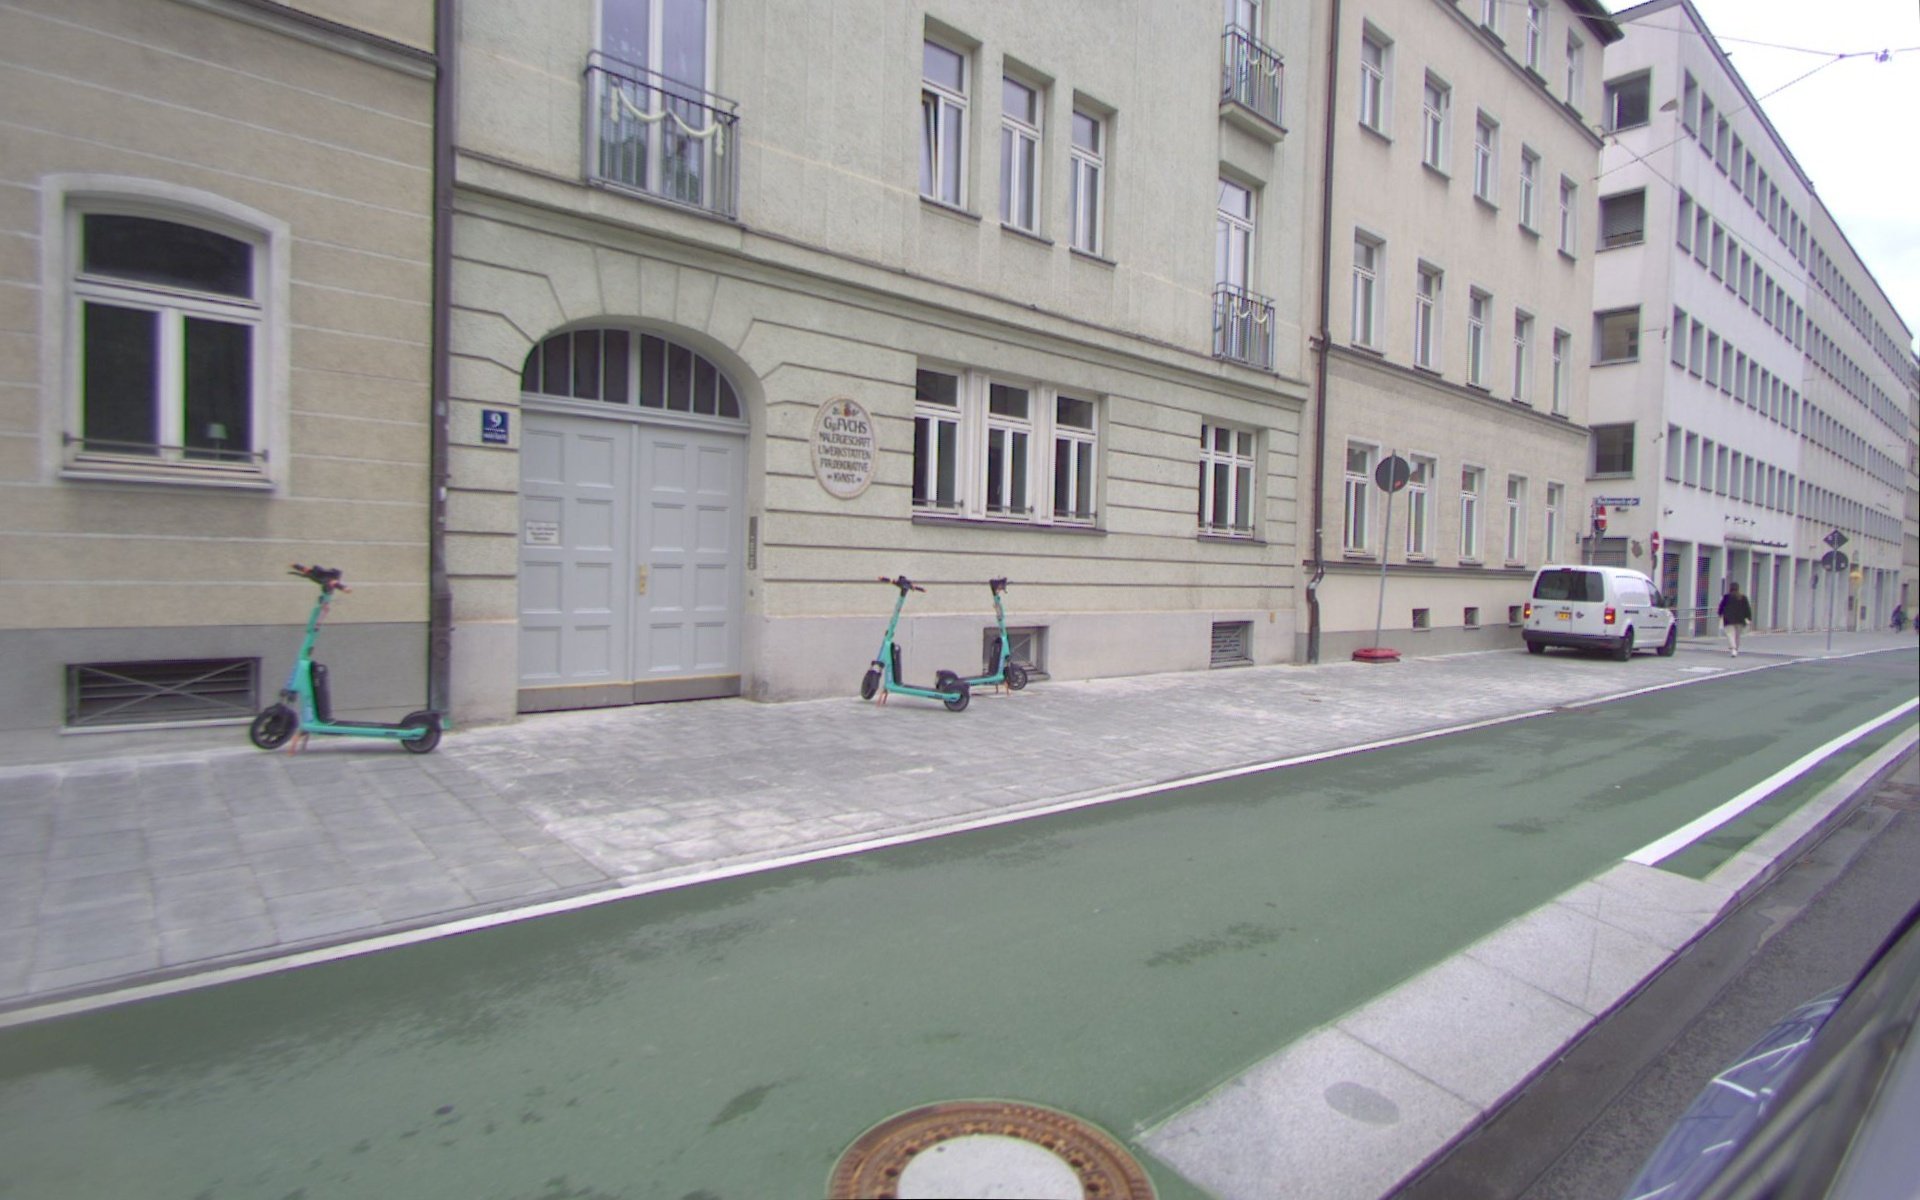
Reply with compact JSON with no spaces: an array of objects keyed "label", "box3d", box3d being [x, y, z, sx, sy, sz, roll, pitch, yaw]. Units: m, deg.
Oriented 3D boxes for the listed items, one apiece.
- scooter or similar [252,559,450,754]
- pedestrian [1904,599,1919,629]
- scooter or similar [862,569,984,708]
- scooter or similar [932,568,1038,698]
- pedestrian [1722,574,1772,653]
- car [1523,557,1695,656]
[{"label":"scooter or similar","box3d":[-4.034,0.373,6.743,1.096,1.245,0.248,2,3,-15]},{"label":"pedestrian","box3d":[54.555,0.821,57.777,0.691,1.638,0.754,1,5,-41]},{"label":"scooter or similar","box3d":[-0.358,0.353,9.711,1.104,1.245,0.246,3,3,17]},{"label":"scooter or similar","box3d":[0.278,0.320,10.655,1.100,1.288,0.387,-1,4,-42]},{"label":"pedestrian","box3d":[17.147,0.277,22.053,0.724,1.655,0.666,1,3,-41]},{"label":"car","box3d":[13.311,0.098,20.657,4.357,1.771,1.737,0,3,-41]}]
